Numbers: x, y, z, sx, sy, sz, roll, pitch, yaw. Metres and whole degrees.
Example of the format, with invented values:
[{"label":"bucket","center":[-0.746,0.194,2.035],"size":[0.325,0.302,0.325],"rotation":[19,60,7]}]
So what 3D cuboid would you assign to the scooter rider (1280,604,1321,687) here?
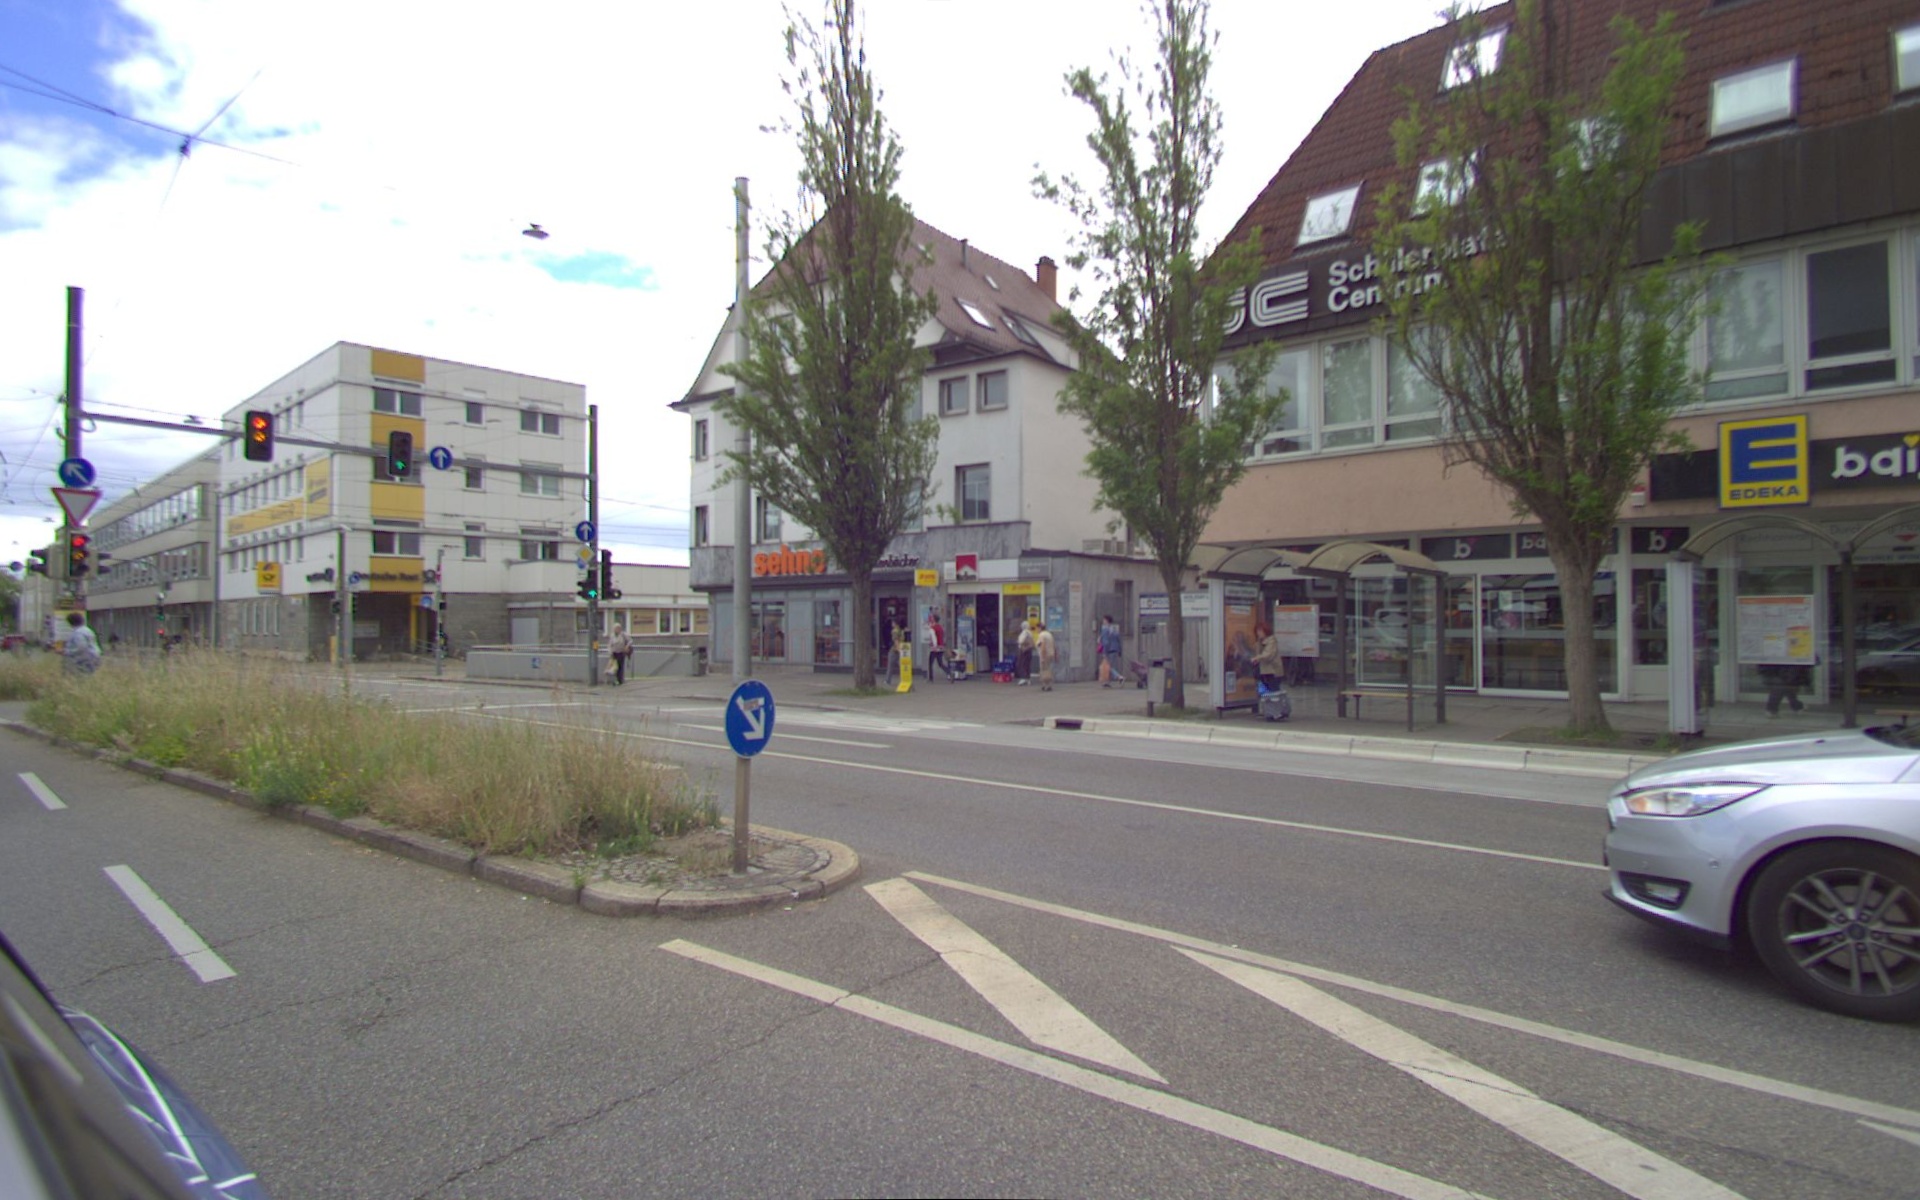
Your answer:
[{"label":"scooter rider","center":[7.304,0.977,21.692],"size":[0.587,1.725,0.607],"rotation":[-3,0,40]}]

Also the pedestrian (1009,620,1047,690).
[{"label":"pedestrian","center":[1.640,1.315,24.384],"size":[0.614,1.647,0.580],"rotation":[-3,0,41]}]

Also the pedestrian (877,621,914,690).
[{"label":"pedestrian","center":[-1.606,1.376,25.151],"size":[0.614,1.647,0.580],"rotation":[-3,0,41]}]

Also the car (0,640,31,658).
[{"label":"car","center":[-93.460,4.825,100.091],"size":[4.694,1.752,2.045],"rotation":[-2,-4,44]}]

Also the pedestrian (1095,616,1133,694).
[{"label":"pedestrian","center":[3.447,1.225,22.676],"size":[0.615,1.725,0.580],"rotation":[-2,-3,41]}]

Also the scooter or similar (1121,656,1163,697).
[{"label":"scooter or similar","center":[4.019,1.674,22.352],"size":[0.702,0.855,0.585],"rotation":[-2,-3,42]}]

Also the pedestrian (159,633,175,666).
[{"label":"pedestrian","center":[-44.741,2.811,57.114],"size":[0.526,1.816,0.580],"rotation":[-3,0,43]}]

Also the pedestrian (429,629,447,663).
[{"label":"pedestrian","center":[-25.519,2.256,49.486],"size":[0.615,1.647,0.579],"rotation":[-3,-3,43]}]

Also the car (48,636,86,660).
[{"label":"car","center":[-78.872,4.265,89.352],"size":[4.484,2.029,1.973],"rotation":[-2,-2,41]}]

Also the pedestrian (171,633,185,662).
[{"label":"pedestrian","center":[-50.765,3.085,65.732],"size":[0.526,1.816,0.580],"rotation":[-3,0,43]}]

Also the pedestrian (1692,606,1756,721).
[{"label":"pedestrian","center":[11.402,0.928,15.099],"size":[0.703,1.665,0.588],"rotation":[0,-3,-43]}]

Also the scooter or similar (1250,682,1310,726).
[{"label":"scooter or similar","center":[4.934,1.596,15.596],"size":[0.702,0.606,0.585],"rotation":[-2,-2,42]}]

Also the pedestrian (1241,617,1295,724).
[{"label":"pedestrian","center":[4.918,1.117,16.151],"size":[0.710,1.665,0.583],"rotation":[-2,-2,25]}]

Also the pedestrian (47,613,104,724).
[{"label":"pedestrian","center":[-13.519,1.030,15.467],"size":[0.662,1.647,0.498],"rotation":[-2,-3,37]}]

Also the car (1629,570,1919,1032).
[{"label":"car","center":[4.788,0.670,3.080],"size":[4.344,1.517,1.853],"rotation":[-1,-3,43]}]

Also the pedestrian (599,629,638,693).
[{"label":"pedestrian","center":[-9.234,1.646,27.367],"size":[0.613,1.647,0.694],"rotation":[-3,0,32]}]

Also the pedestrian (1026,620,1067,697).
[{"label":"pedestrian","center":[1.908,1.282,22.414],"size":[0.614,1.647,0.580],"rotation":[-3,0,41]}]

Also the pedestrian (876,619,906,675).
[{"label":"pedestrian","center":[-2.093,1.436,30.870],"size":[0.587,1.647,0.607],"rotation":[-3,0,41]}]

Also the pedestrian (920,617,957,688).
[{"label":"pedestrian","center":[-0.541,1.314,25.556],"size":[0.614,1.725,0.580],"rotation":[-3,0,41]}]
